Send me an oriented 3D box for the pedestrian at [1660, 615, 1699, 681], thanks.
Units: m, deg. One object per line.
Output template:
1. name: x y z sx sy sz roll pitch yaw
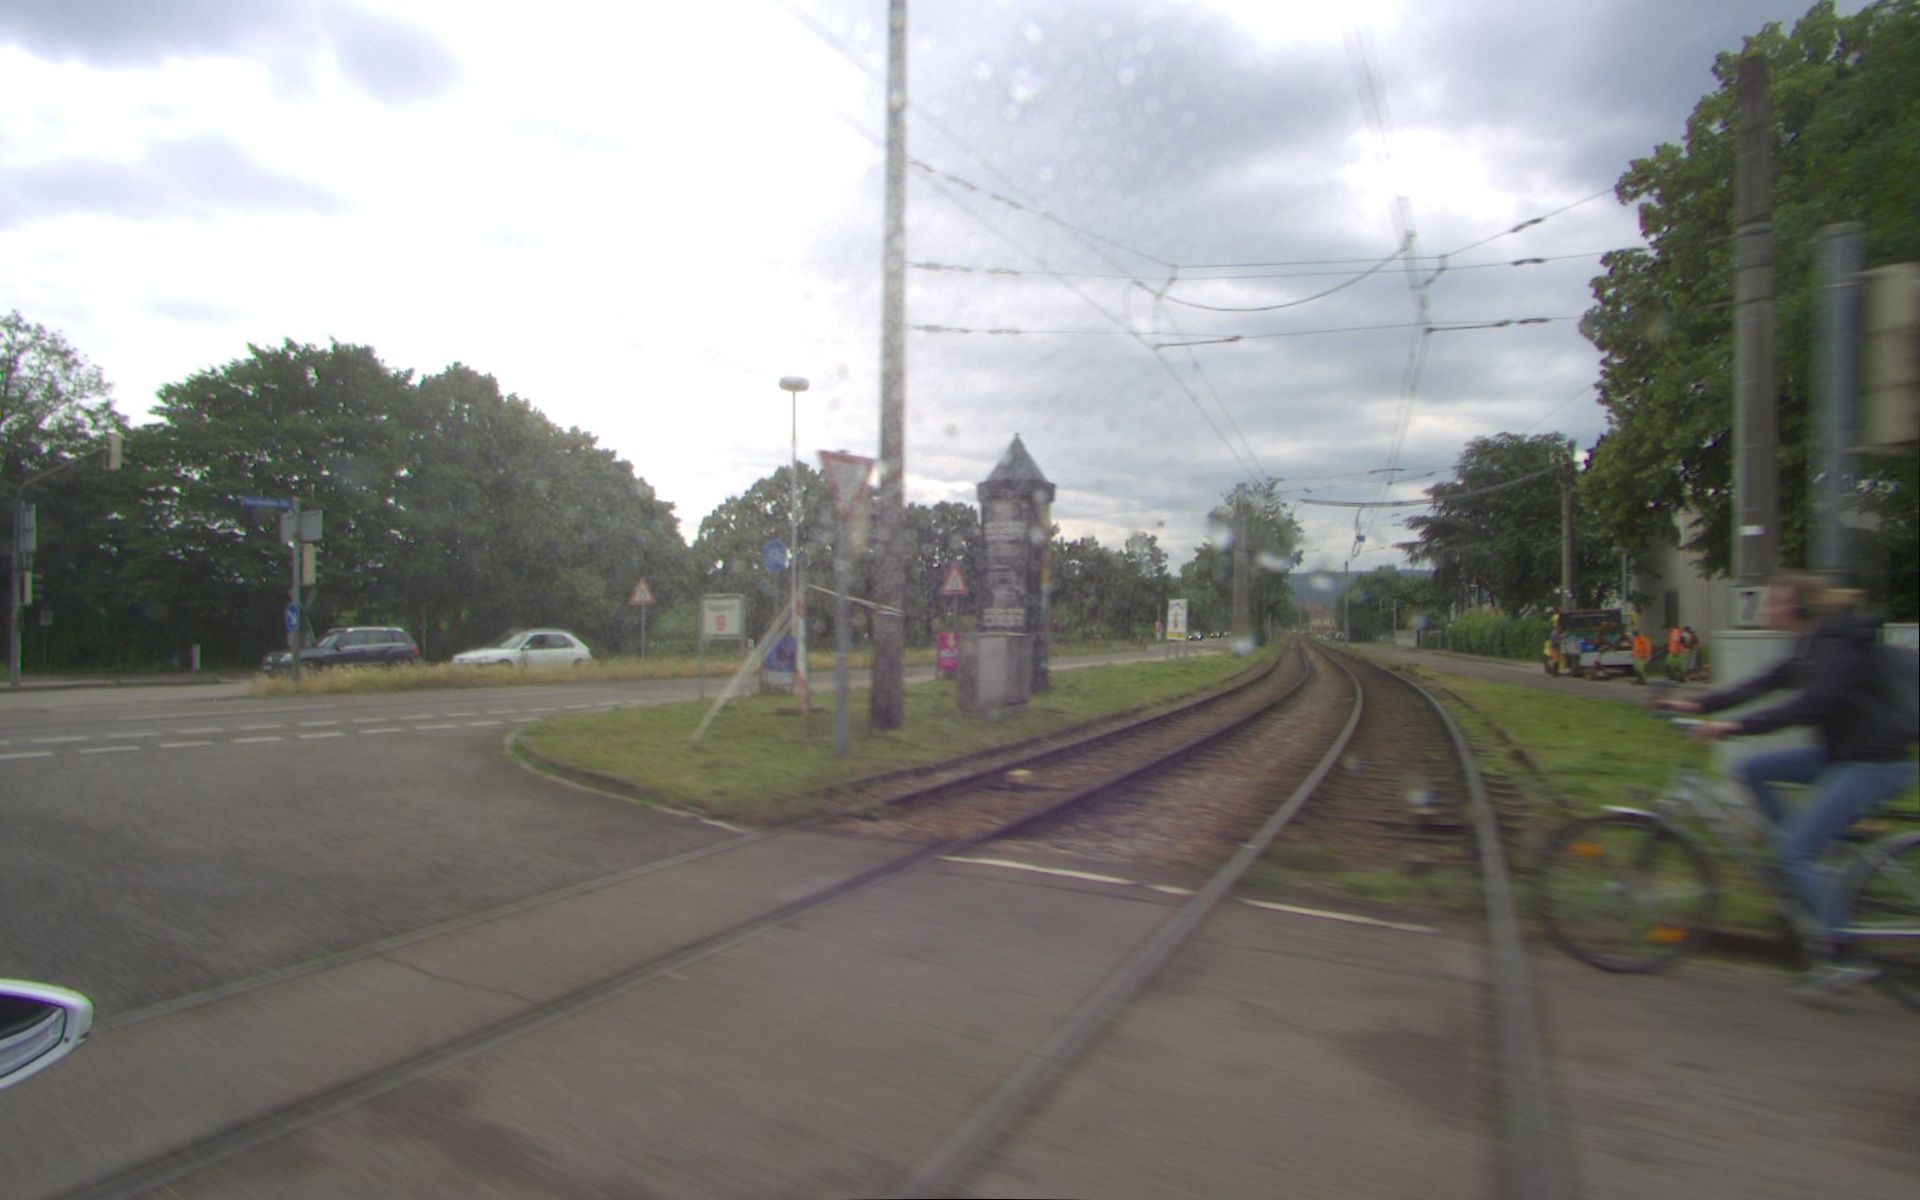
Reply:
1. pedestrian: 21.011 1.389 29.247 0.861 1.879 0.677 1 0 32

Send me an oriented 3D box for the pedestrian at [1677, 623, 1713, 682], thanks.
1. pedestrian: 23.565 1.689 32.119 0.598 1.864 0.711 1 0 -15

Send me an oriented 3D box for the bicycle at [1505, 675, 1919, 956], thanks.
1. bicycle: 3.340 0.827 4.036 1.999 0.993 0.382 -1 -1 30

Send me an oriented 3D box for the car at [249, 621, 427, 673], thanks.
1. car: -19.602 1.445 31.761 1.819 1.523 4.459 0 -1 31

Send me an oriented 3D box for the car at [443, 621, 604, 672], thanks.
1. car: -12.557 1.303 29.063 1.623 1.375 4.131 0 -1 31

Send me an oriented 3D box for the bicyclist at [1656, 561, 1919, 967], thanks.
1. bicyclist: 3.378 0.609 3.964 0.947 1.441 0.621 0 -5 30

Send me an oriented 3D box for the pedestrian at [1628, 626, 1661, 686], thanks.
1. pedestrian: 20.381 1.658 29.843 0.624 1.785 0.575 0 0 10

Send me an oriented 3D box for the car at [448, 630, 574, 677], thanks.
1. car: -16.635 1.938 37.283 1.850 1.639 3.984 0 -1 29

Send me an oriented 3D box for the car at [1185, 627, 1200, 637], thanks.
1. car: 37.112 5.163 159.493 1.634 1.550 3.880 0 -1 24

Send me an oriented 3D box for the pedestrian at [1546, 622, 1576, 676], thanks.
1. pedestrian: 21.242 1.711 35.409 0.756 1.893 0.604 0 0 15
